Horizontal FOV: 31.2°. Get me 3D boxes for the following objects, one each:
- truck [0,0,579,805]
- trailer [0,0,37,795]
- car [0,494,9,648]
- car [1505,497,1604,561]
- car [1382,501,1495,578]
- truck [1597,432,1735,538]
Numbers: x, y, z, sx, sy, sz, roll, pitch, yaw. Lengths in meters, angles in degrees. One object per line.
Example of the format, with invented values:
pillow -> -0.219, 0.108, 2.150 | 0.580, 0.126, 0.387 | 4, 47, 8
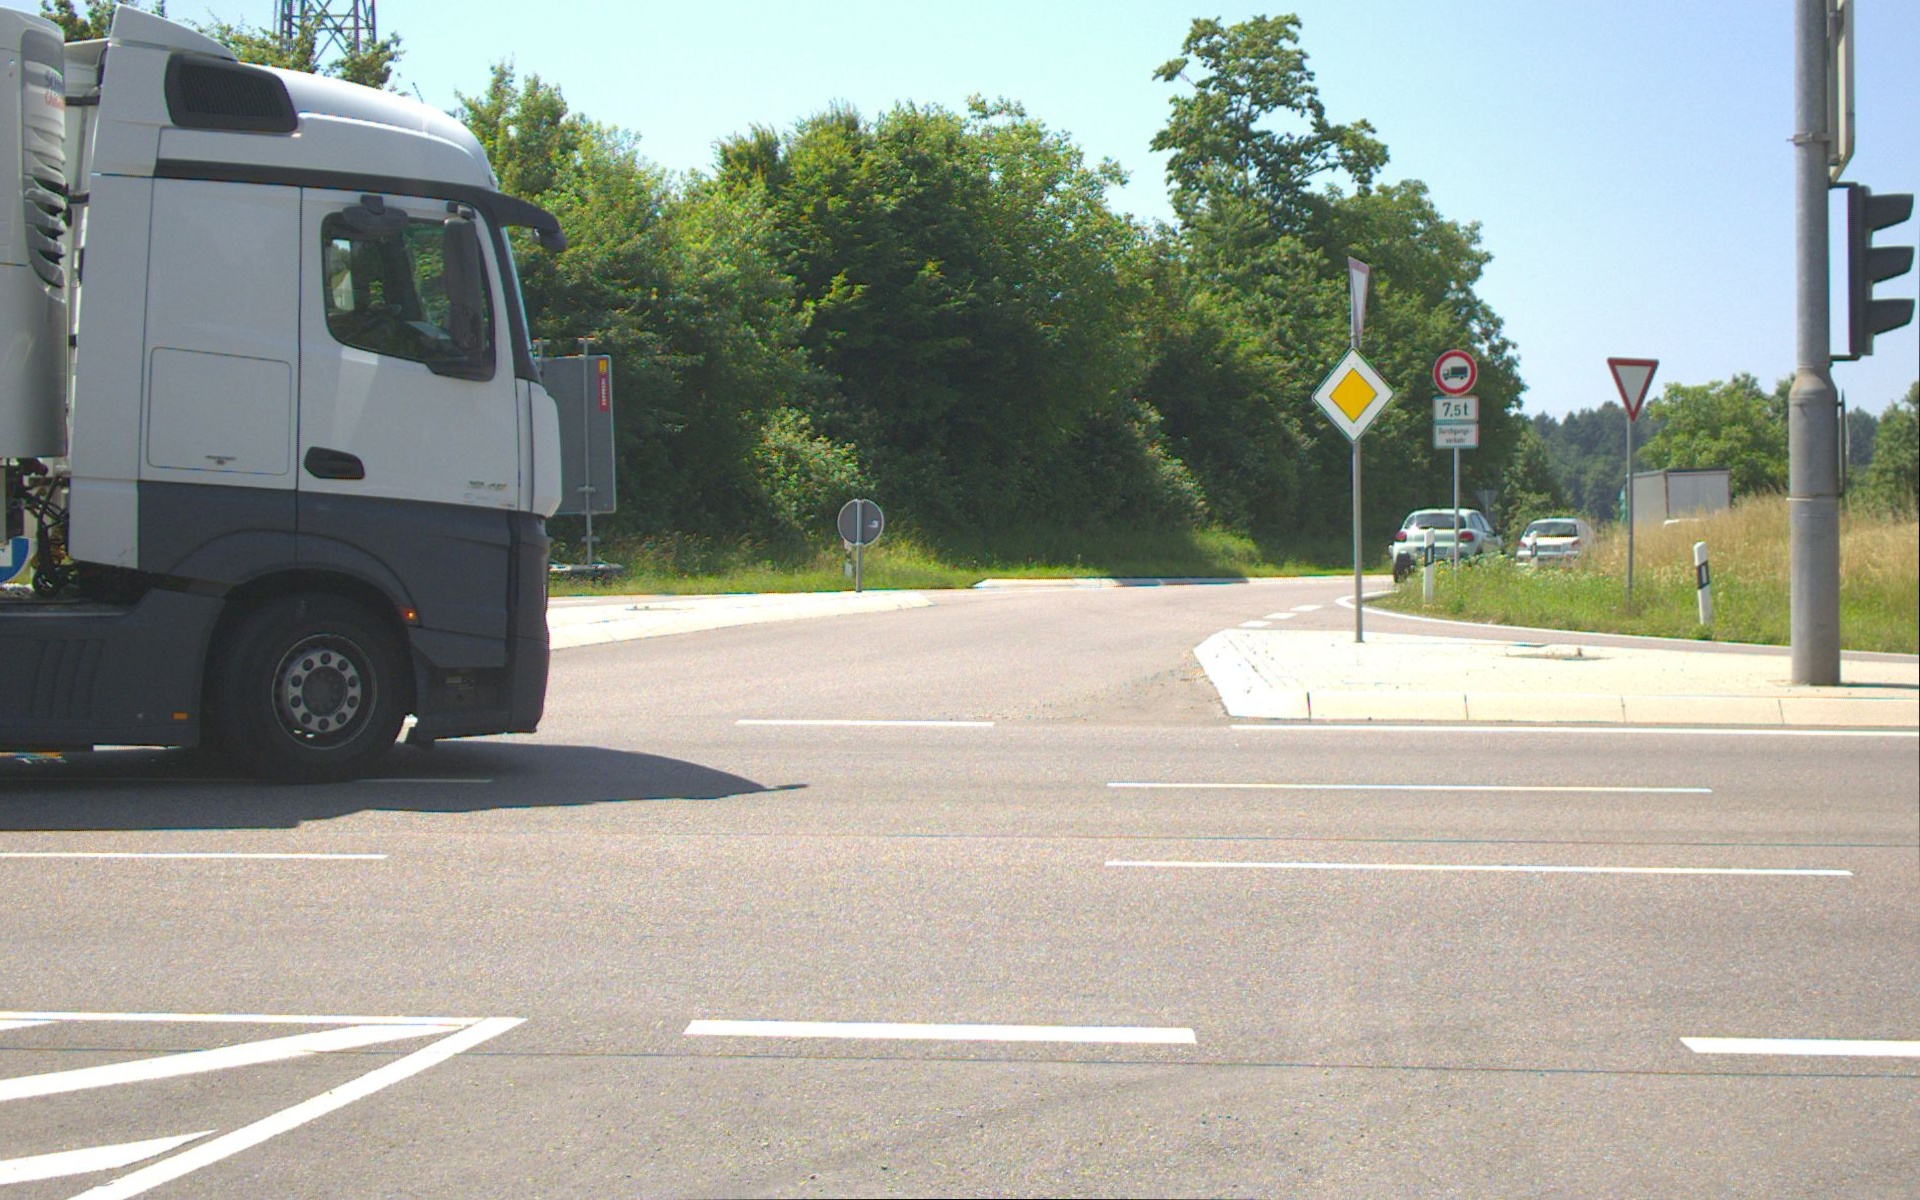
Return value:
truck -> -5.163, -1.084, 17.616 | 6.259, 4.022, 2.662 | 0, 2, -9
trailer -> -11.689, -1.058, 16.543 | 13.789, 4.022, 2.662 | 0, 2, -9
car -> -9.736, -0.201, 29.219 | 1.566, 1.366, 3.529 | 1, 3, 16
car -> 14.160, -1.709, 81.766 | 1.814, 1.408, 3.781 | 1, 3, 18
car -> 9.585, -1.228, 68.667 | 1.730, 1.399, 3.984 | 2, 3, 15
truck -> 29.328, -4.738, 143.623 | 3.126, 4.158, 16.686 | 0, 1, 3
